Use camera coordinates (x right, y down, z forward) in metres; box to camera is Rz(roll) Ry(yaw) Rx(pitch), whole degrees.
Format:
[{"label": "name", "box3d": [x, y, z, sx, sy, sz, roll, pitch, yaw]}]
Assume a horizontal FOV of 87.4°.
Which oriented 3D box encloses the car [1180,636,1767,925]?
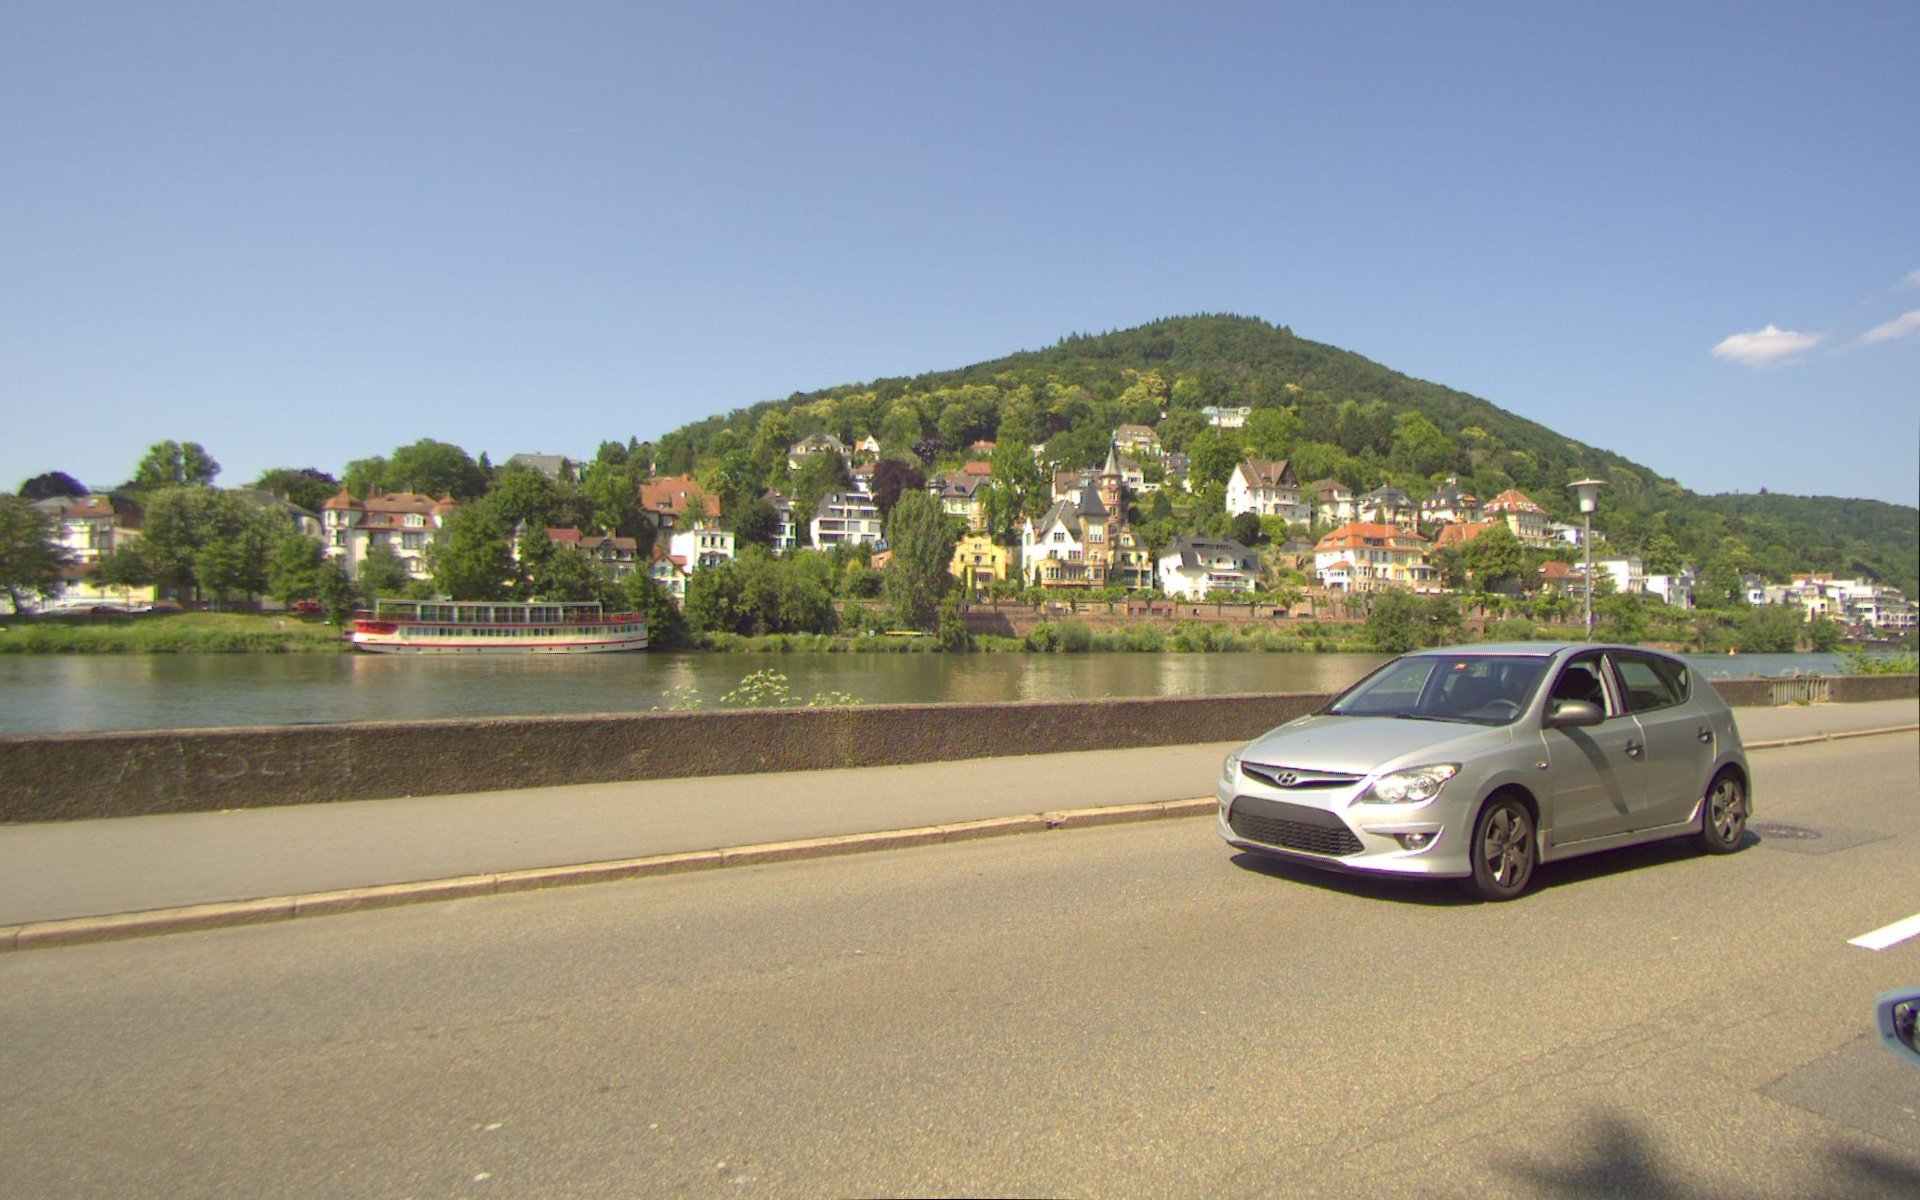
[{"label": "car", "box3d": [3.594, 0.998, 6.885, 3.998, 1.460, 1.723, 2, -3, -31]}]
